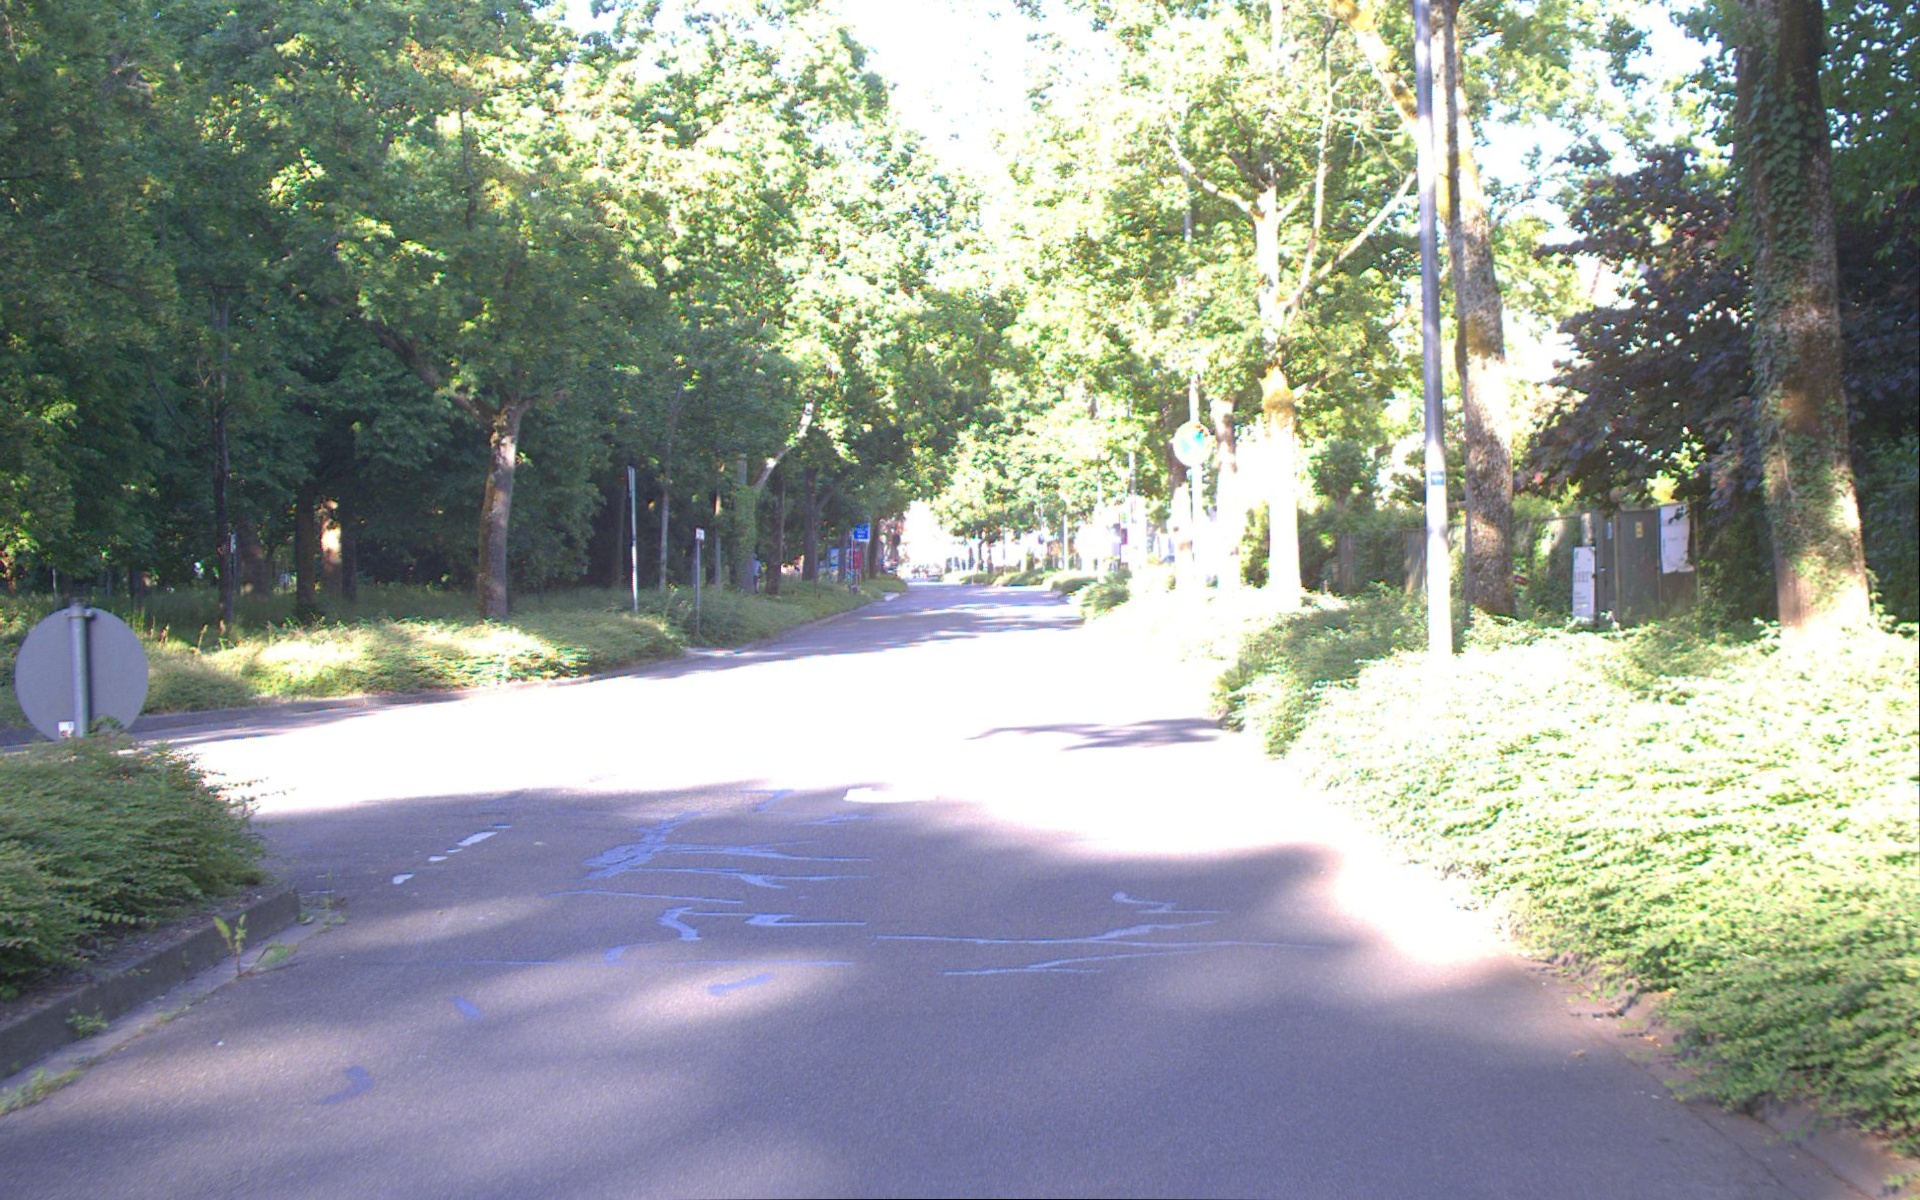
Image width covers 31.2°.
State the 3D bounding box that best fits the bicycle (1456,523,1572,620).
[{"bbox_3d":[7.598,-0.404,47.064,0.884,1.196,2.323,-3,1,26],"label":"bicycle"}]
